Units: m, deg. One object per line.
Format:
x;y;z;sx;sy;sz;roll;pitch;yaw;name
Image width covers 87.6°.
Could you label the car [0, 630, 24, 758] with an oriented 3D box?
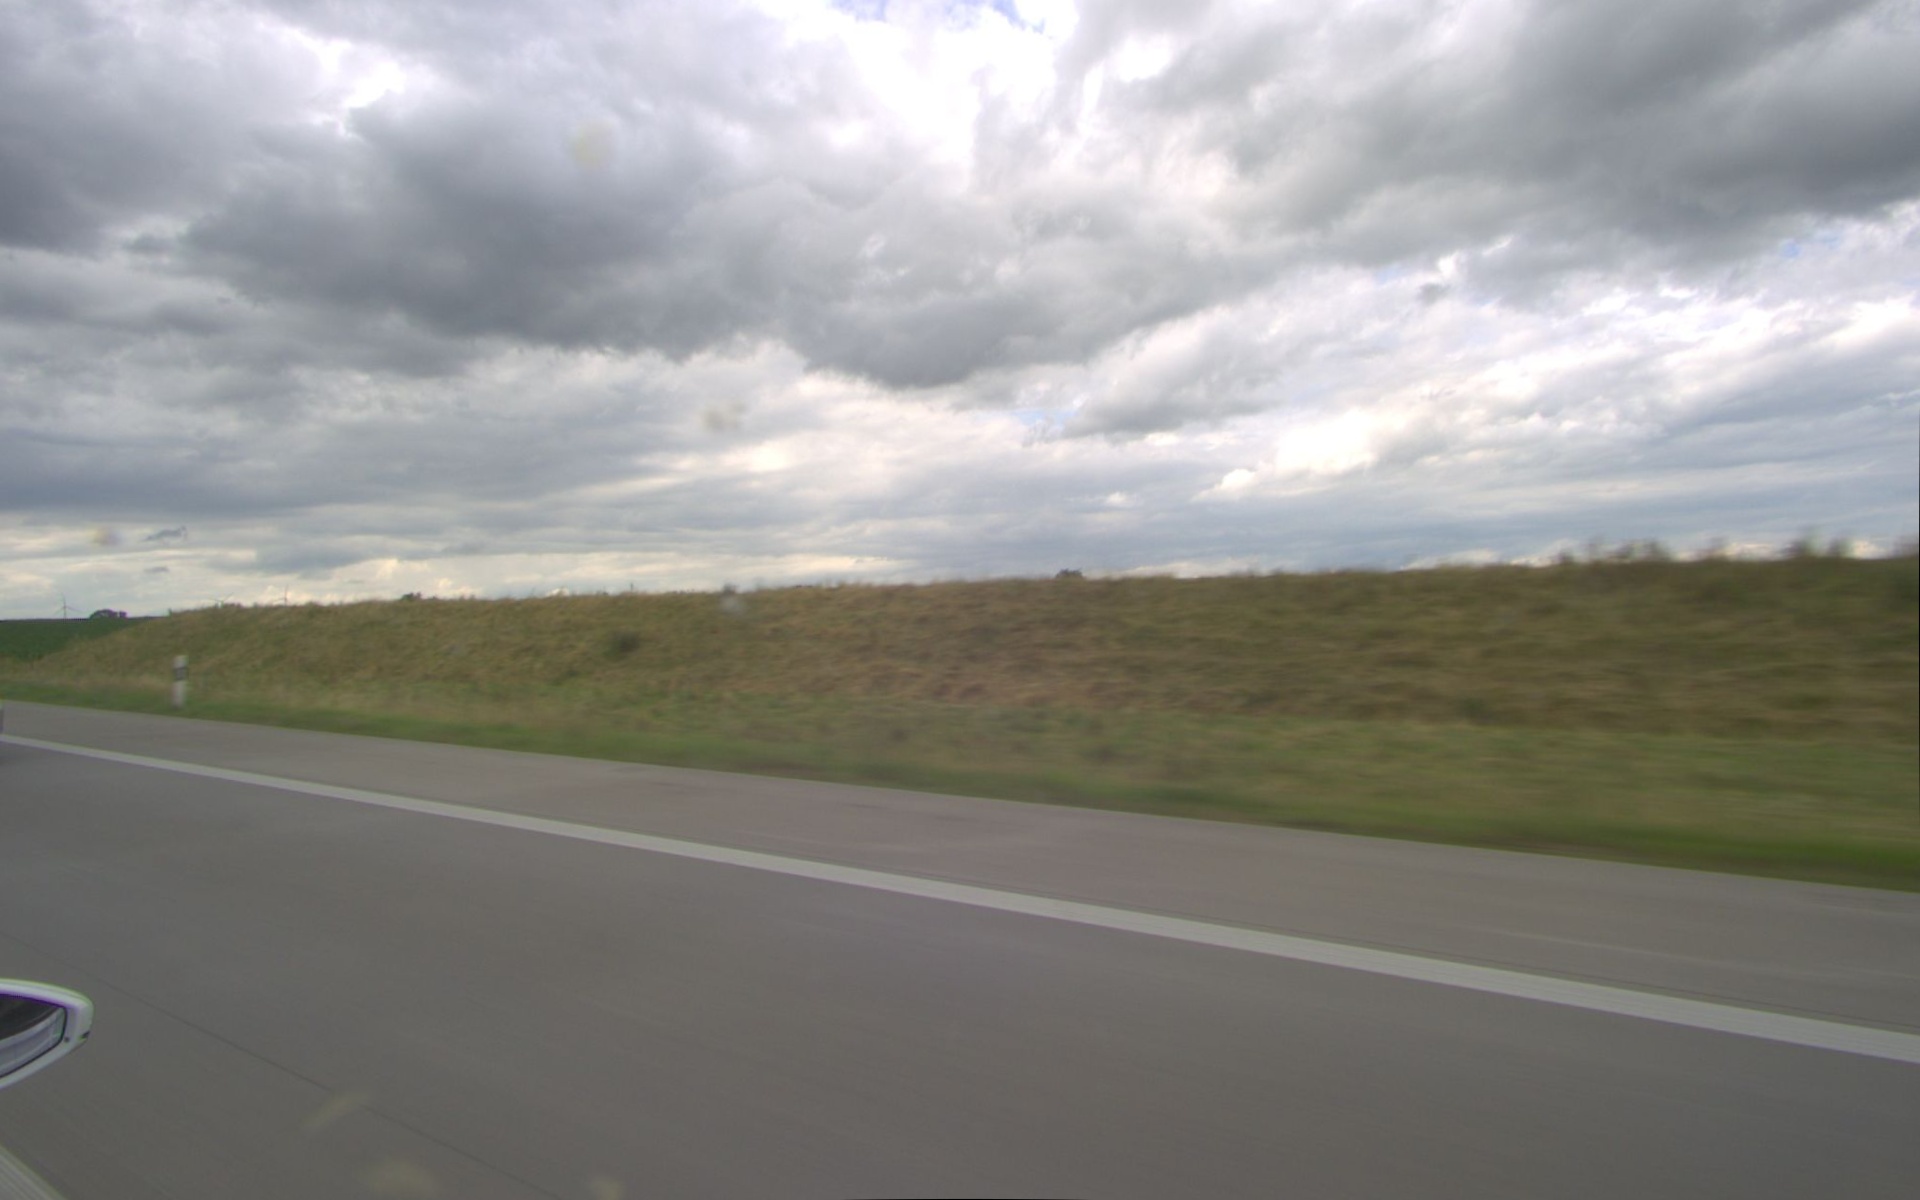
-12.813;1.085;11.682;4.161;1.421;1.785;-2;-2;32;car
